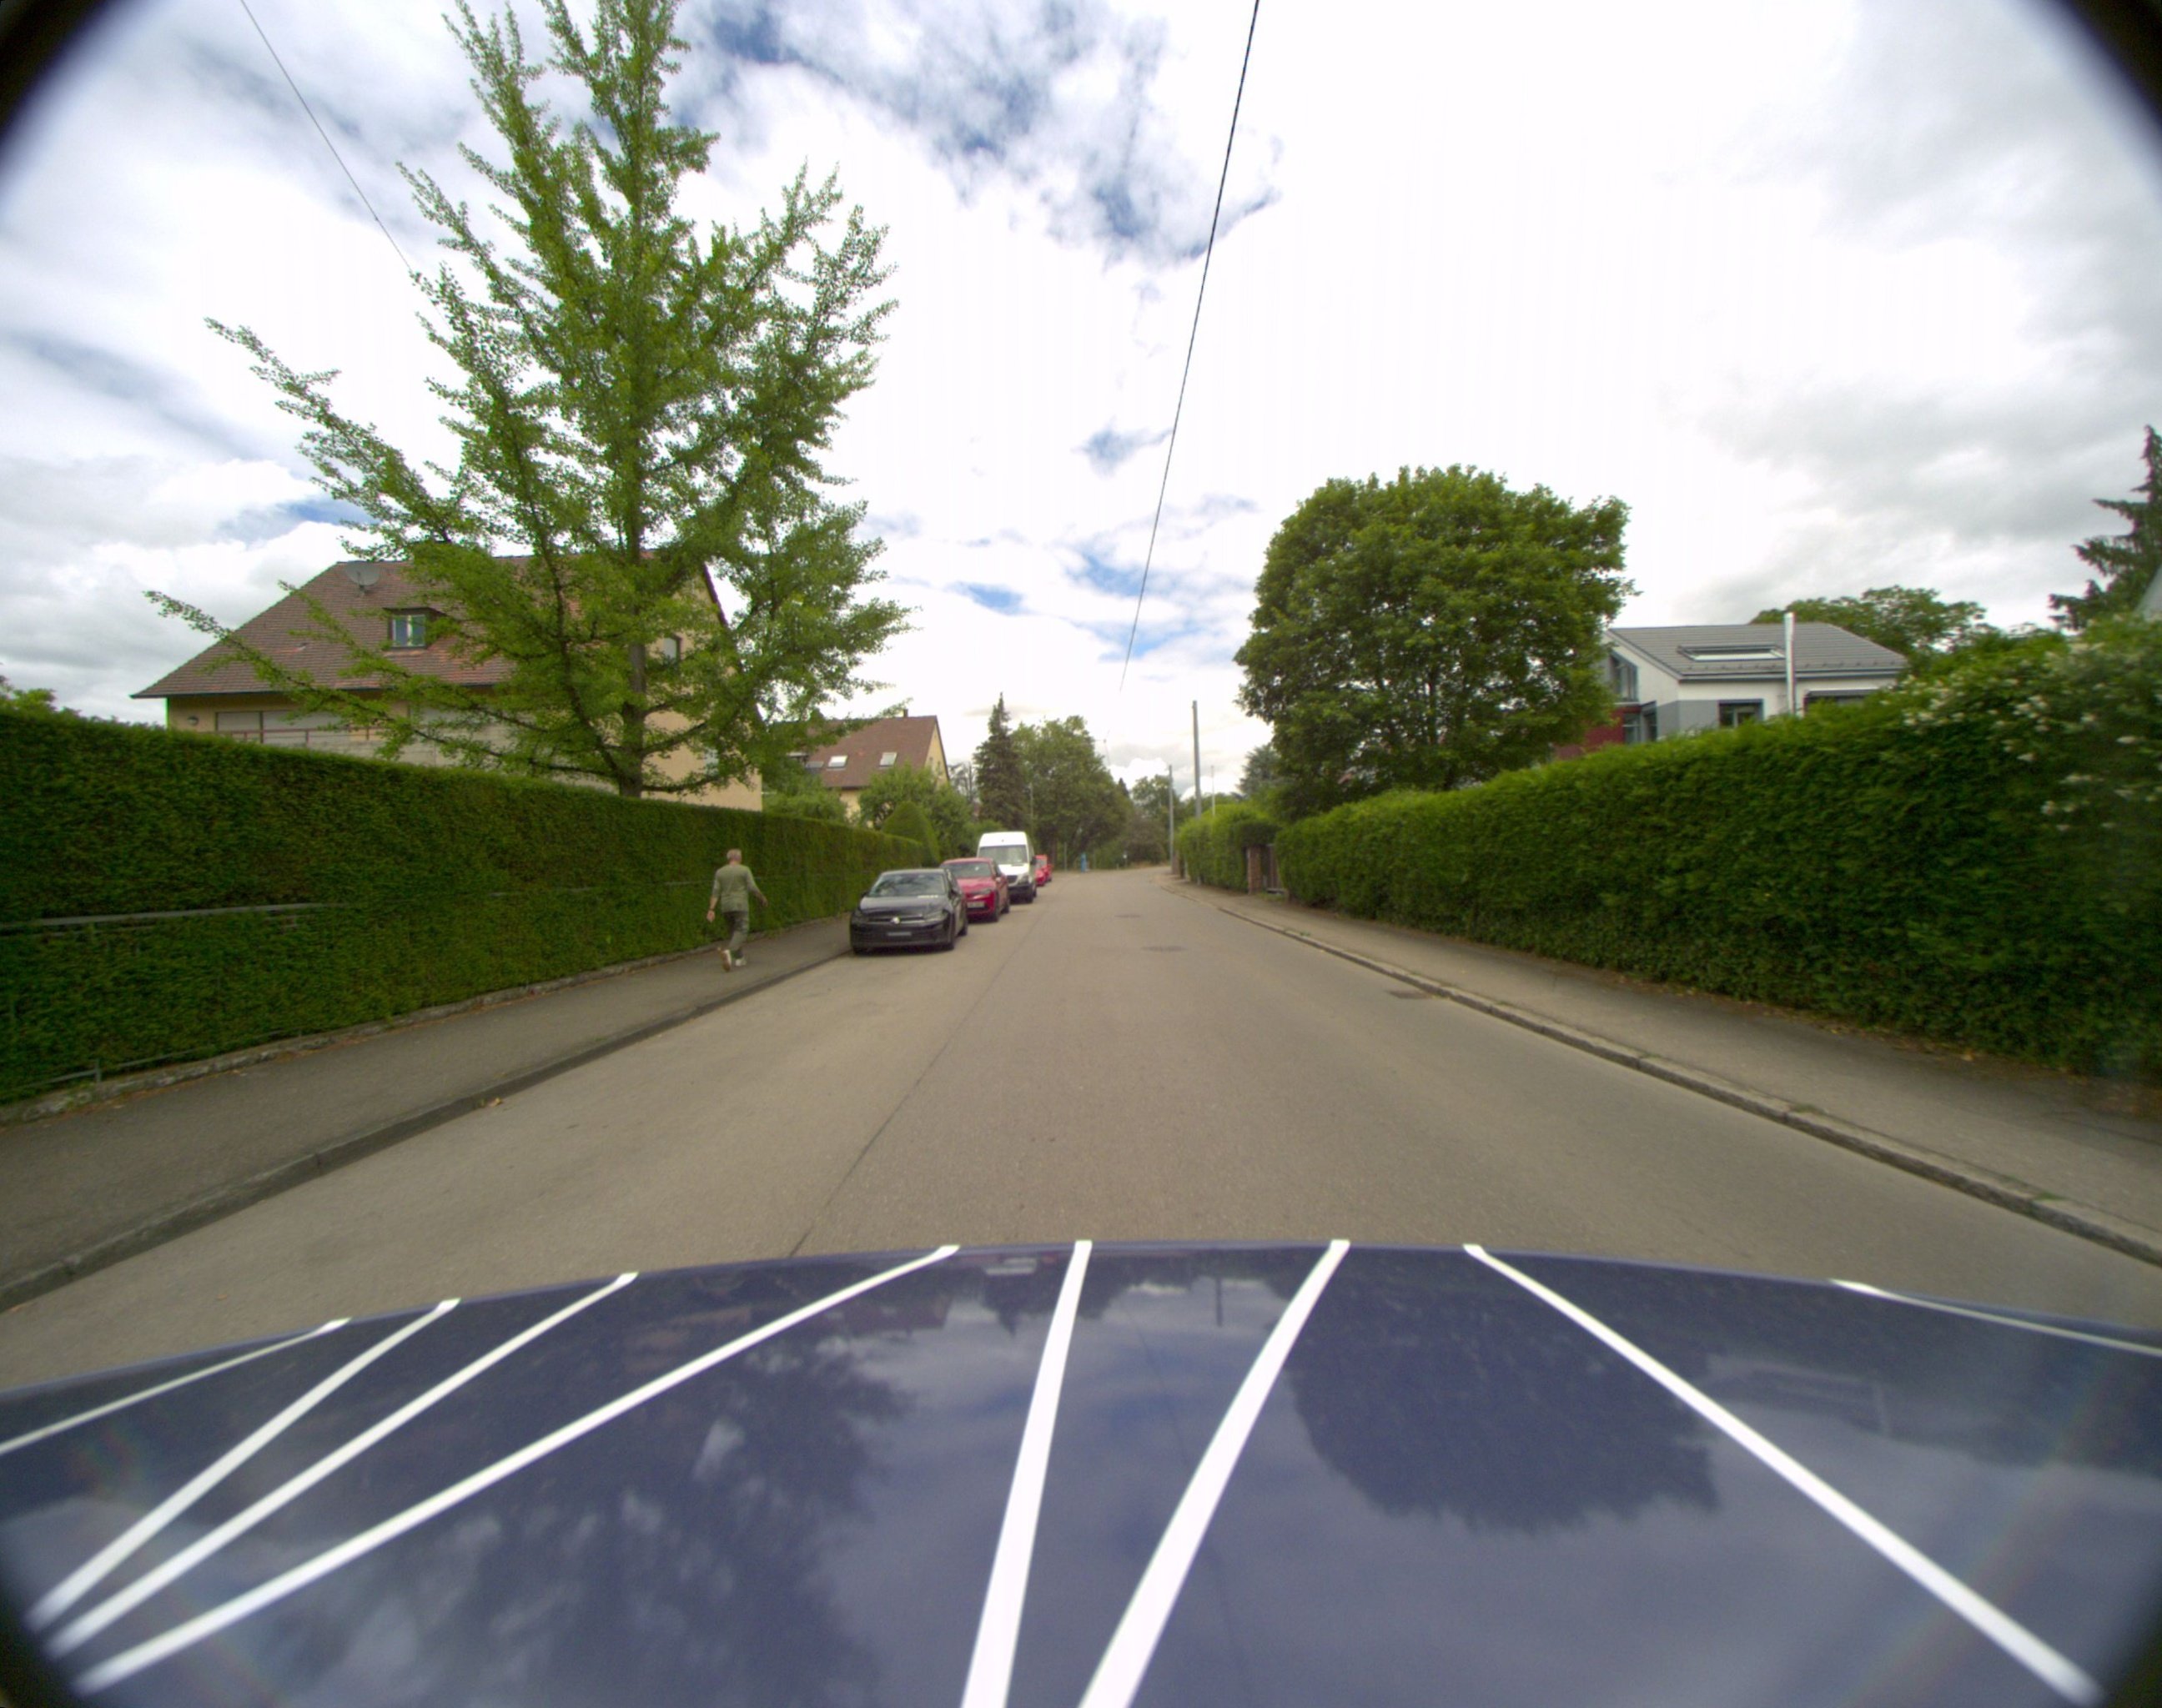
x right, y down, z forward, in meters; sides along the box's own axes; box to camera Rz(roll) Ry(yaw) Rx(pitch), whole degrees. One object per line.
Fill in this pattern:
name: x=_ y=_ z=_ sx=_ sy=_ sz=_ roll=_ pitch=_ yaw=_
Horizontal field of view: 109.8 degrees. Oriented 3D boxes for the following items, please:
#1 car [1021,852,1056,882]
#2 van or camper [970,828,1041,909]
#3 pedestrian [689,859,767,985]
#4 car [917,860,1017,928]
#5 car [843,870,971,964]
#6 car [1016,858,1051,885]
car: x=-2.678 y=0.807 z=48.882 sx=1.771 sy=1.755 sz=4.162 roll=-2 pitch=0 yaw=3
van or camper: x=-2.689 y=0.476 z=28.579 sx=2.047 sy=2.604 sz=7.037 roll=-2 pitch=0 yaw=-2
pedestrian: x=-4.898 y=0.908 z=10.591 sx=0.671 sy=1.688 sz=0.918 roll=0 pitch=0 yaw=-2
car: x=-2.914 y=0.959 z=20.407 sx=1.893 sy=1.572 sz=4.765 roll=0 pitch=0 yaw=1
car: x=-3.070 y=1.049 z=14.153 sx=1.683 sy=1.399 sz=4.052 roll=0 pitch=0 yaw=-4
car: x=-2.636 y=0.950 z=43.029 sx=1.704 sy=1.421 sz=4.395 roll=-2 pitch=0 yaw=-1
